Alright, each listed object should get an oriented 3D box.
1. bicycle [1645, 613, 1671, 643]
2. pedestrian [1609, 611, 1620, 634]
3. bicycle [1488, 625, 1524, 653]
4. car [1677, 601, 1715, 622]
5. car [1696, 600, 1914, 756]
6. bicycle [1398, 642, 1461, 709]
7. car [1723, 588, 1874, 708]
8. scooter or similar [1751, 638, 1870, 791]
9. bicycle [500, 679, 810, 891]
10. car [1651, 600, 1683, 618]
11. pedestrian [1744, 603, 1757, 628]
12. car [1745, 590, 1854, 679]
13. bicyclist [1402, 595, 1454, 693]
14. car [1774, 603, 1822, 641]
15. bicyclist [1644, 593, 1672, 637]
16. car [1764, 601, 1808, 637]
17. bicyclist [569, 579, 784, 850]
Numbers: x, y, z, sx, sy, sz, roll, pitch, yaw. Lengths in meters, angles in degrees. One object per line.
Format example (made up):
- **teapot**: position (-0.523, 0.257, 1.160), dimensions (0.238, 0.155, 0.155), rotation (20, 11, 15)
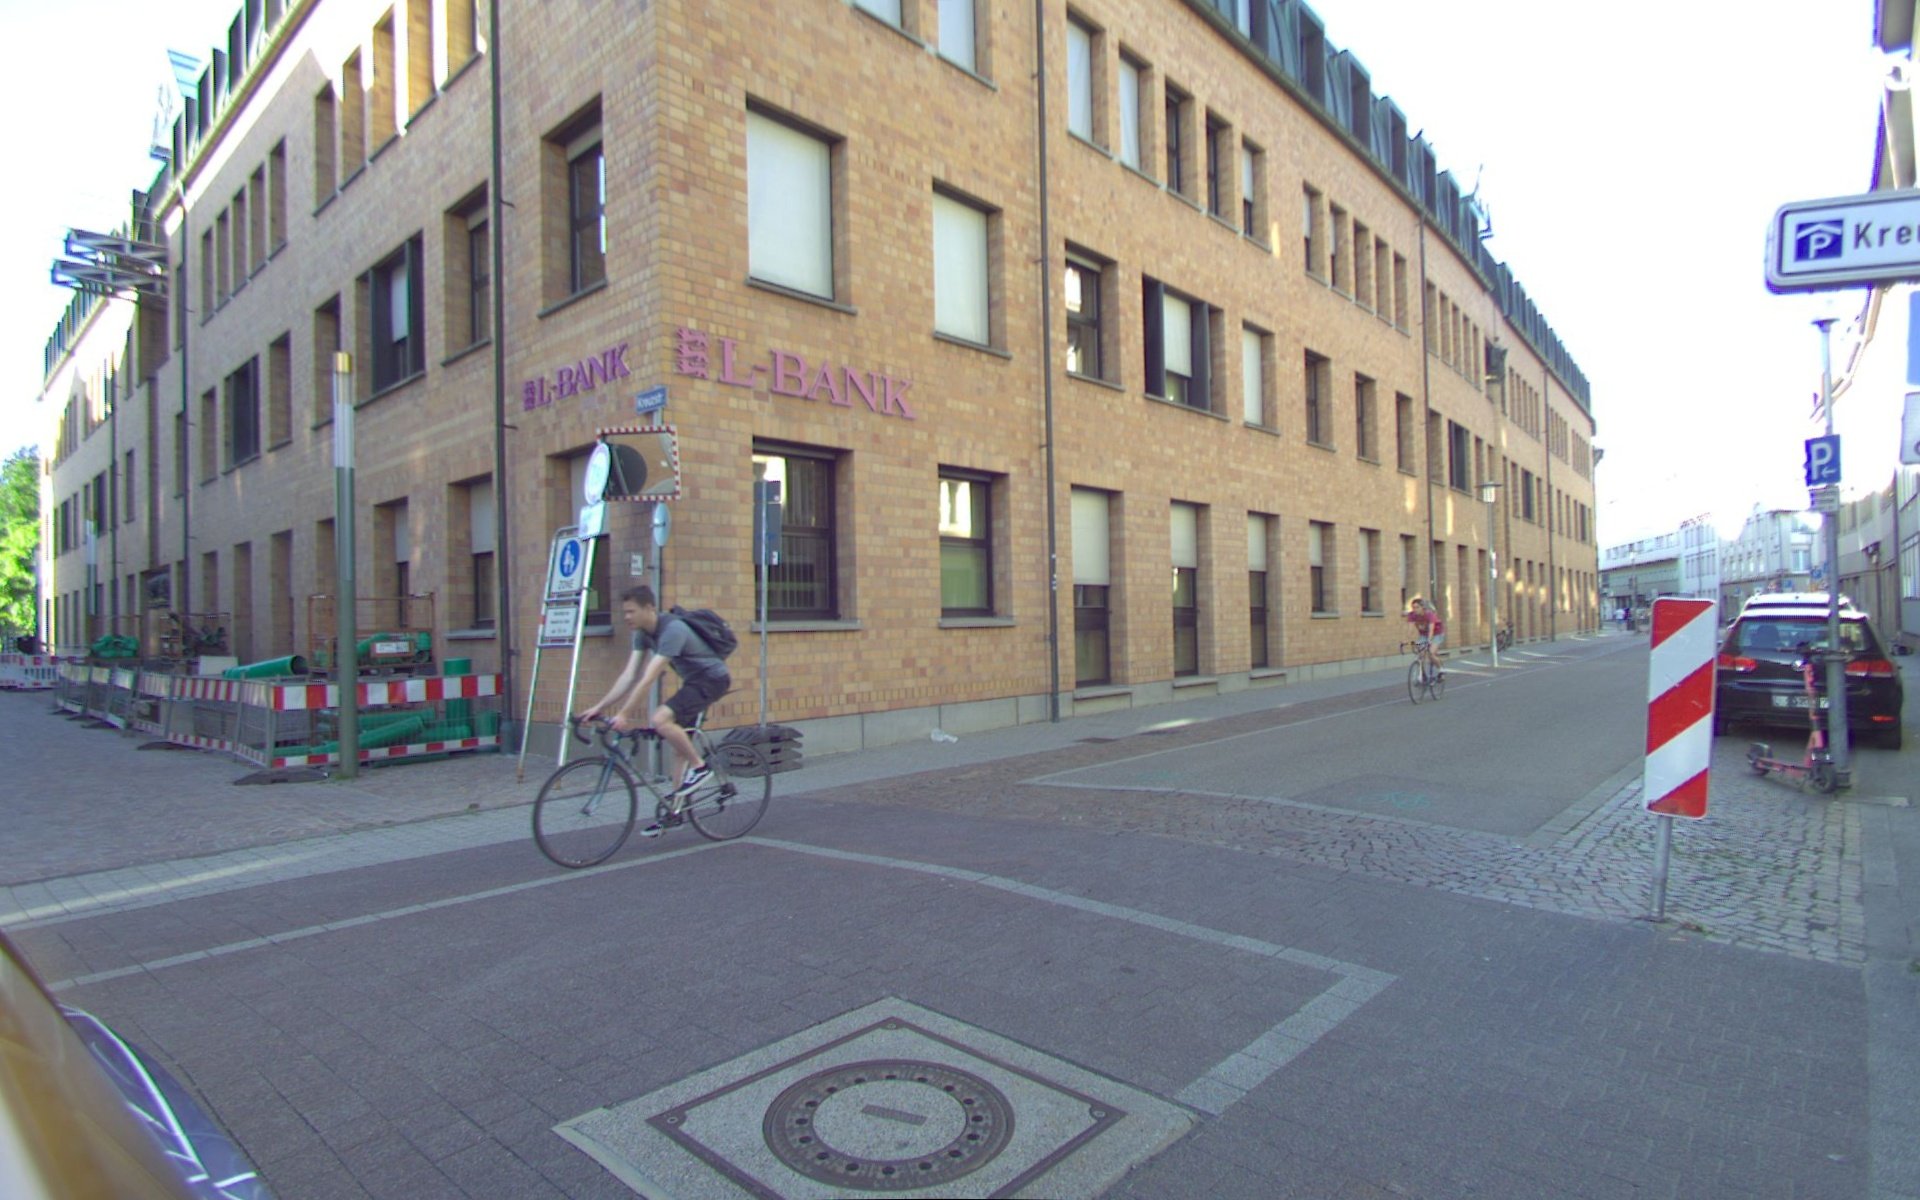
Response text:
- **bicycle**: position (27.461, 1.112, 39.804), dimensions (0.704, 1.112, 1.805), rotation (-6, -5, 36)
- **pedestrian**: position (44.402, 1.503, 68.623), dimensions (0.543, 1.556, 0.399), rotation (-1, -1, 40)
- **bicycle**: position (18.830, 1.334, 34.878), dimensions (0.642, 0.888, 2.524), rotation (-1, -1, 38)
- **car**: position (60.565, 0.948, 83.356), dimensions (1.926, 1.663, 3.801), rotation (-2, -1, 27)
- **car**: position (9.962, 0.770, 11.957), dimensions (1.740, 1.497, 3.759), rotation (0, 1, 41)
- **bicycle**: position (7.456, 1.177, 16.038), dimensions (0.436, 0.964, 1.569), rotation (-3, -2, 42)
- **car**: position (13.348, 0.676, 16.105), dimensions (1.673, 1.674, 4.025), rotation (0, 0, 41)
- **scooter or similar**: position (7.083, 0.923, 8.458), dimensions (0.205, 1.193, 0.882), rotation (-1, -2, 1)
- **bicycle**: position (-1.879, 1.098, 6.457), dimensions (0.574, 1.059, 1.810), rotation (-8, -5, 43)
- **car**: position (68.160, 0.852, 97.614), dimensions (1.926, 1.663, 3.801), rotation (-1, -1, 27)
- **pedestrian**: position (48.831, 0.950, 62.502), dimensions (0.570, 1.490, 0.468), rotation (-2, -2, 34)
- **car**: position (17.976, 0.684, 21.643), dimensions (1.673, 1.717, 3.958), rotation (0, 0, 41)
- **bicyclist**: position (7.413, 0.697, 16.033), dimensions (0.428, 1.509, 0.863), rotation (-5, -4, 42)
- **car**: position (38.976, 1.015, 47.119), dimensions (1.692, 1.692, 3.461), rotation (0, 0, 39)
- **bicyclist**: position (27.471, 0.578, 39.848), dimensions (0.771, 1.668, 0.945), rotation (-6, -4, 36)
- **car**: position (42.205, 0.955, 51.737), dimensions (1.692, 1.789, 3.608), rotation (0, 0, 39)
- **bicyclist**: position (-1.807, 0.687, 6.496), dimensions (0.650, 1.570, 1.094), rotation (-7, -5, 44)
